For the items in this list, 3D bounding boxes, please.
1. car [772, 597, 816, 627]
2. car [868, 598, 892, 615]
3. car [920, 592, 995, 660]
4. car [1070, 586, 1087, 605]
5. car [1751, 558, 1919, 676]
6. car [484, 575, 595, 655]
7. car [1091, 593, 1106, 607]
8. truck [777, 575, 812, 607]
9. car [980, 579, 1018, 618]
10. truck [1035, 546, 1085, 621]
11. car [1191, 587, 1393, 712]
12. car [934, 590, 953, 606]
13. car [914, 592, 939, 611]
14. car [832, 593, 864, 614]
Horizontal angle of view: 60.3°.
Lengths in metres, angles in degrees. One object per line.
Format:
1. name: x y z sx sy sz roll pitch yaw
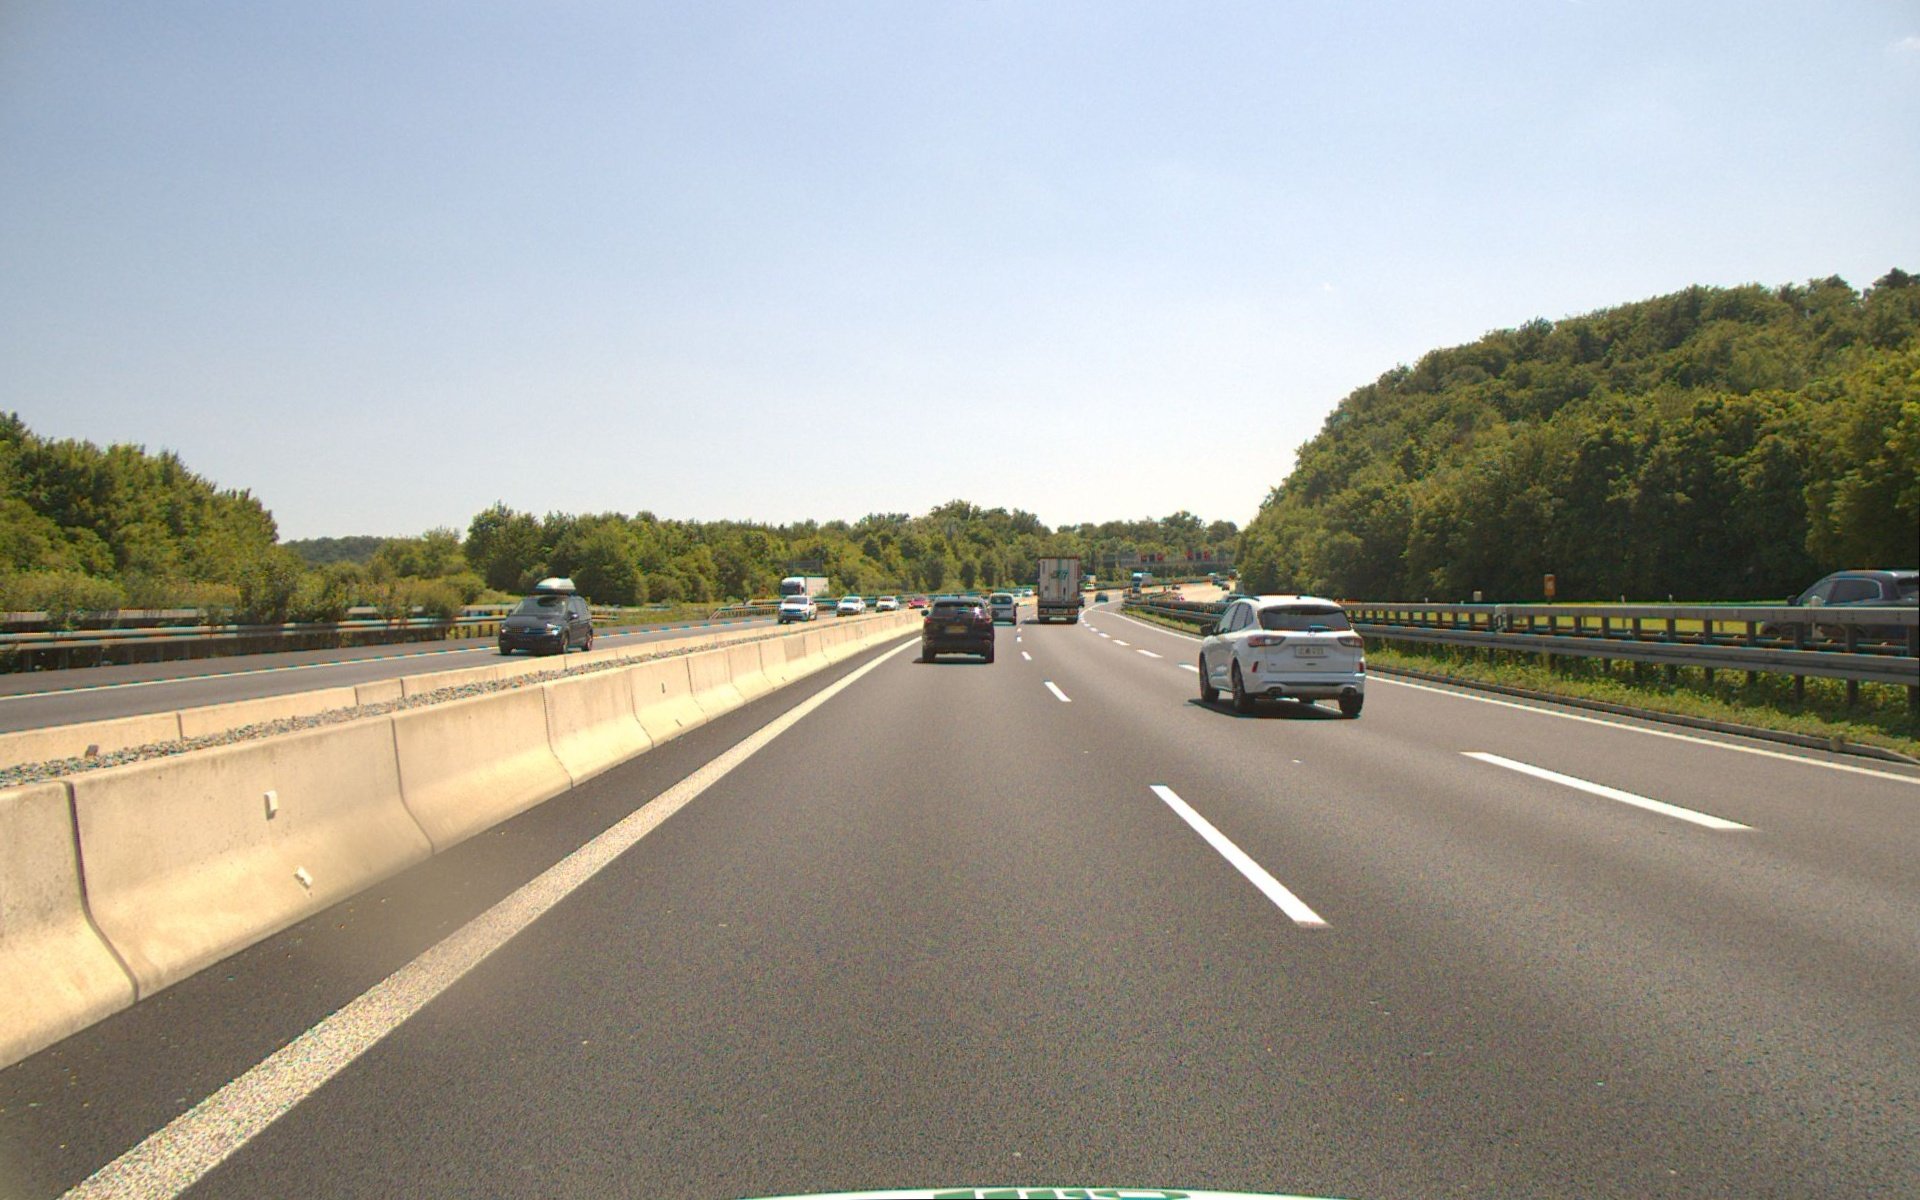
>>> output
1. car: -9.662 0.716 96.520 1.829 1.695 4.666 0 0 3
2. car: -7.271 0.579 150.488 1.812 1.419 4.002 1 0 3
3. car: -0.115 0.632 41.620 1.743 1.605 3.998 0 0 -2
4. car: 13.607 -0.508 190.011 1.952 2.049 4.002 0 0 3
5. car: 14.632 0.252 25.473 1.954 1.691 5.622 0 0 -3
6. car: -11.746 0.390 46.505 1.953 2.117 4.703 -1 0 0
7. car: 20.534 -0.024 245.114 1.951 2.049 4.003 0 0 8
8. truck: -18.761 -1.011 187.755 3.018 3.565 5.412 0 0 5
9. car: 2.274 -0.091 95.027 1.952 2.048 4.002 -3 0 3
10. truck: 6.302 -0.941 105.048 2.968 4.496 12.023 0 0 3
11. car: 4.842 0.684 24.801 1.954 1.691 4.465 0 0 -3
12. car: -1.972 -0.236 196.230 1.952 1.856 4.907 0 0 3
13. car: -2.925 0.136 145.214 1.952 1.688 4.635 0 0 2
14. car: -8.524 0.266 125.917 1.952 1.570 5.042 0 0 2
